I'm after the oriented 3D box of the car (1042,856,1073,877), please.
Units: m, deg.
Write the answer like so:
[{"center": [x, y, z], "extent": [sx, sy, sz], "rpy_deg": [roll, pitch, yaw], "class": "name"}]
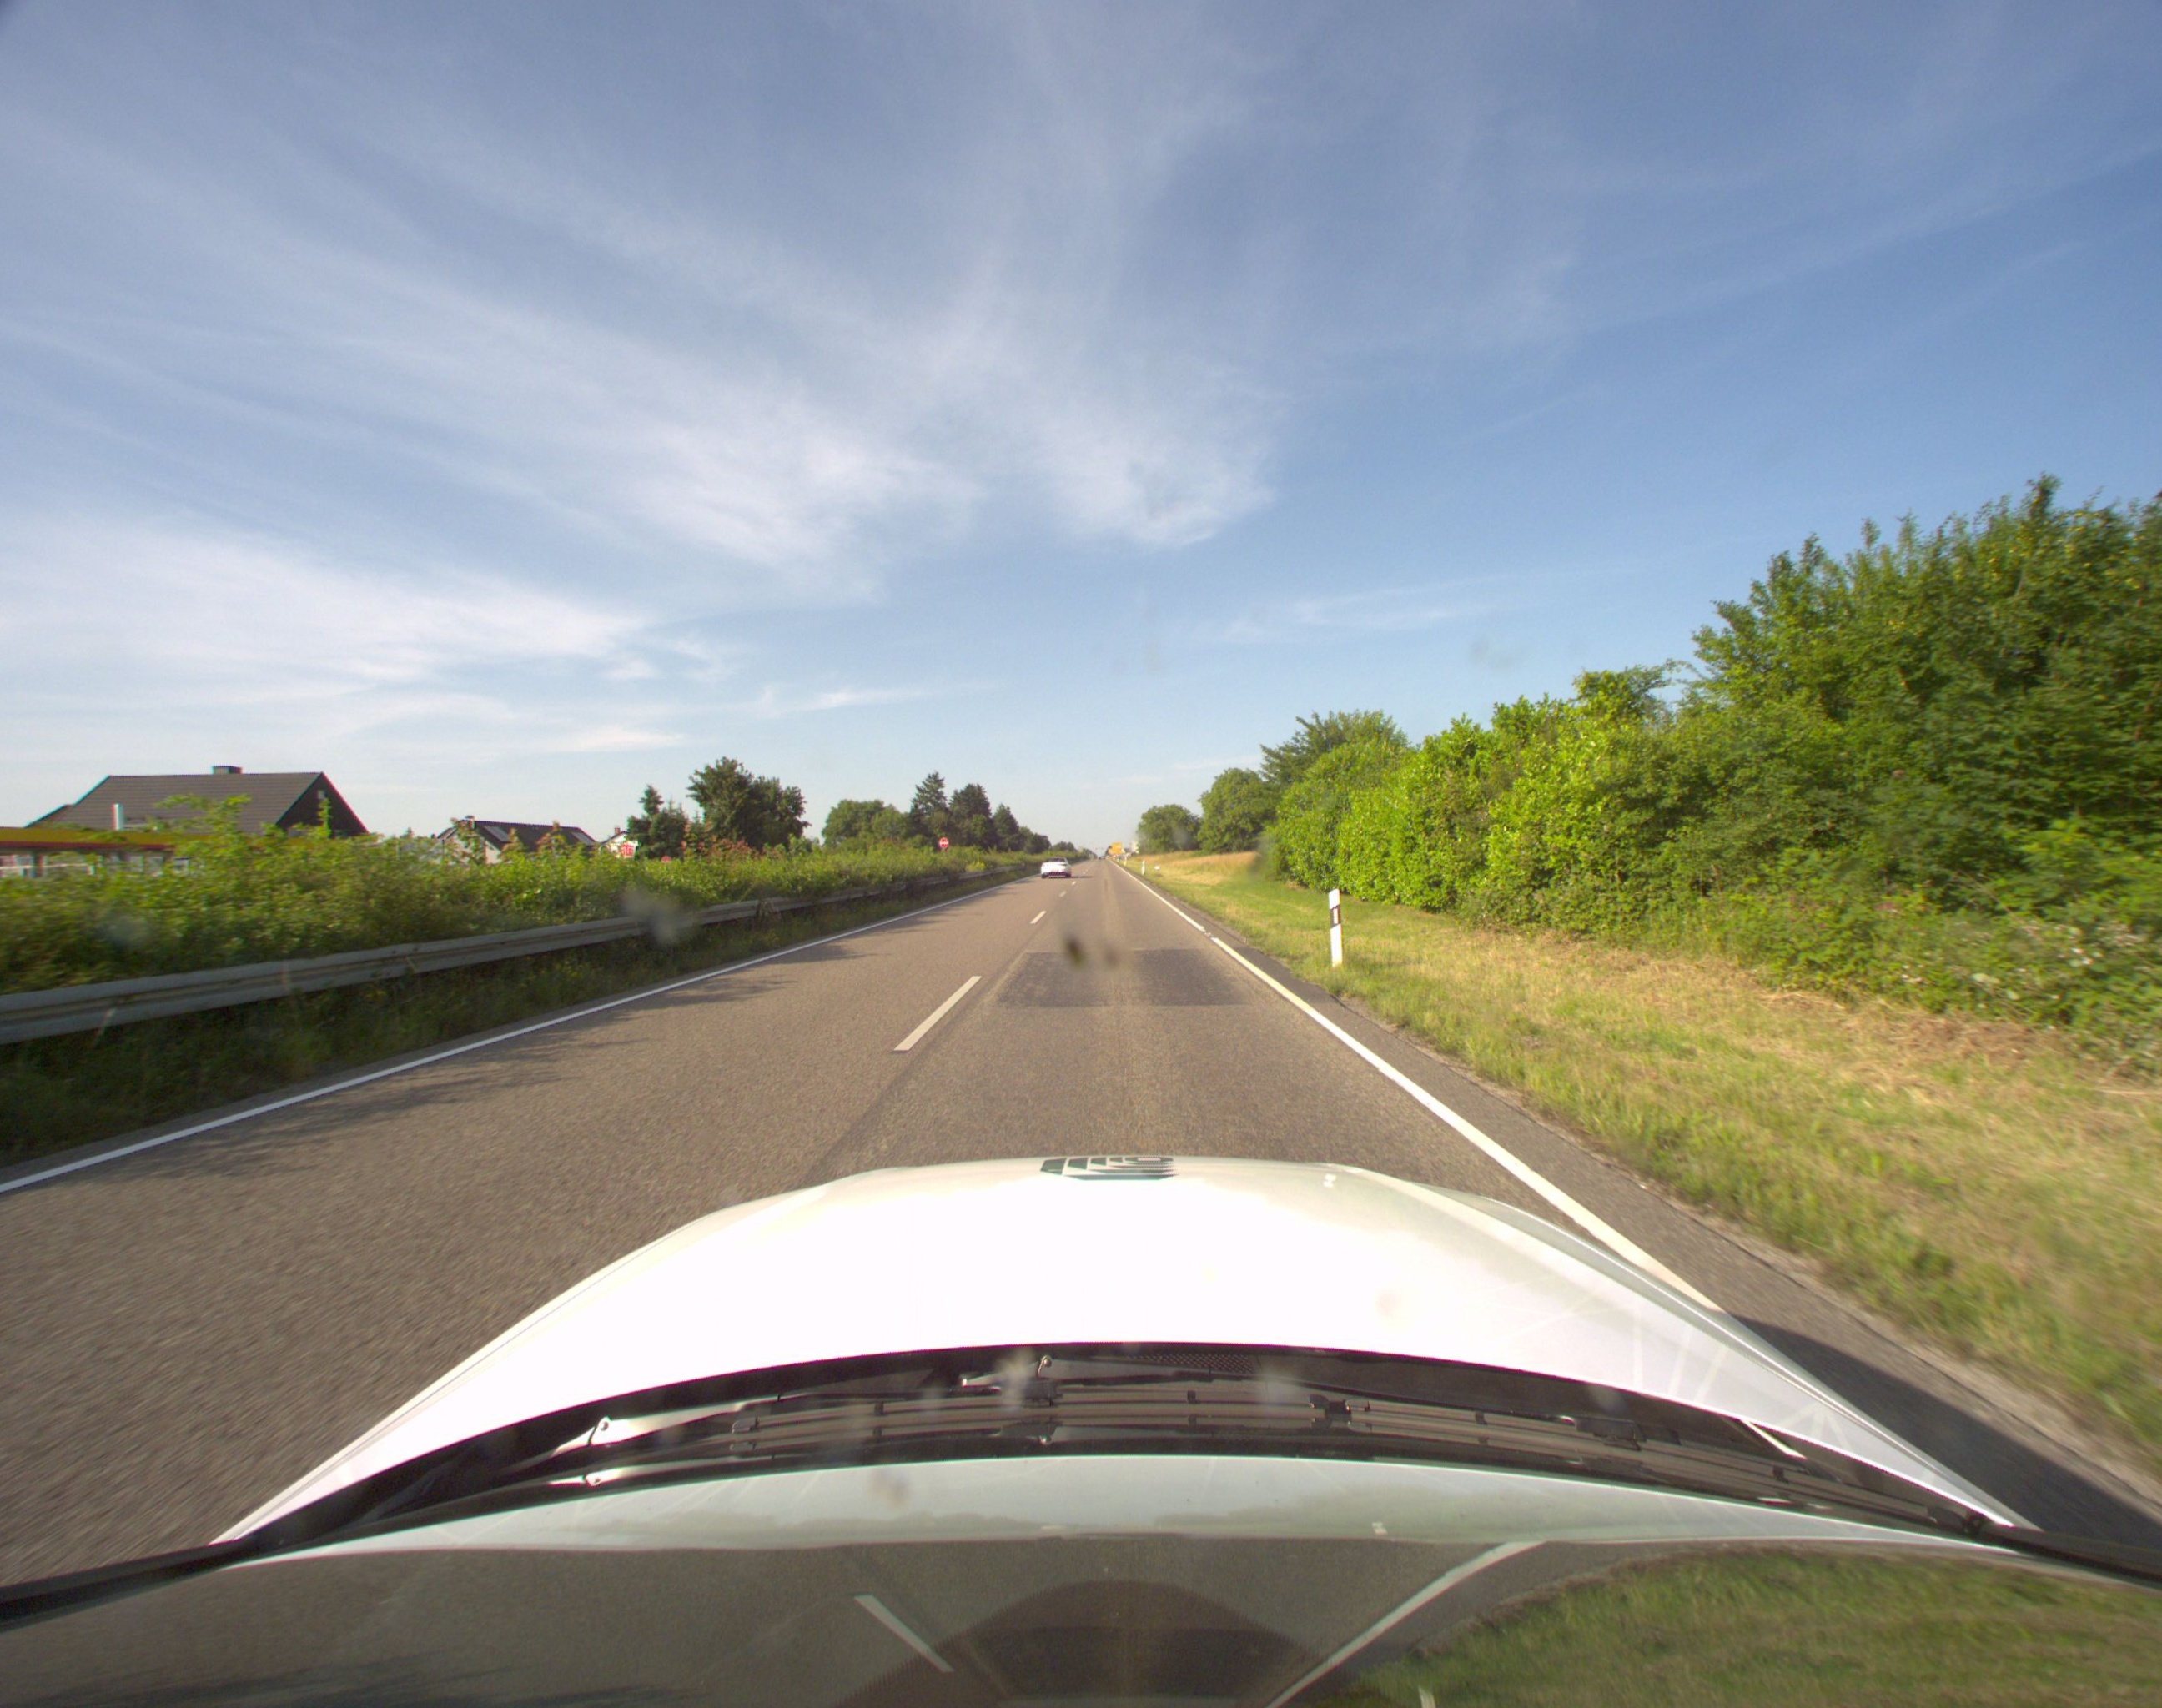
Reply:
[{"center": [-1.552, 0.841, 55.151], "extent": [1.764, 1.337, 4.952], "rpy_deg": [0, -1, 2], "class": "car"}]
